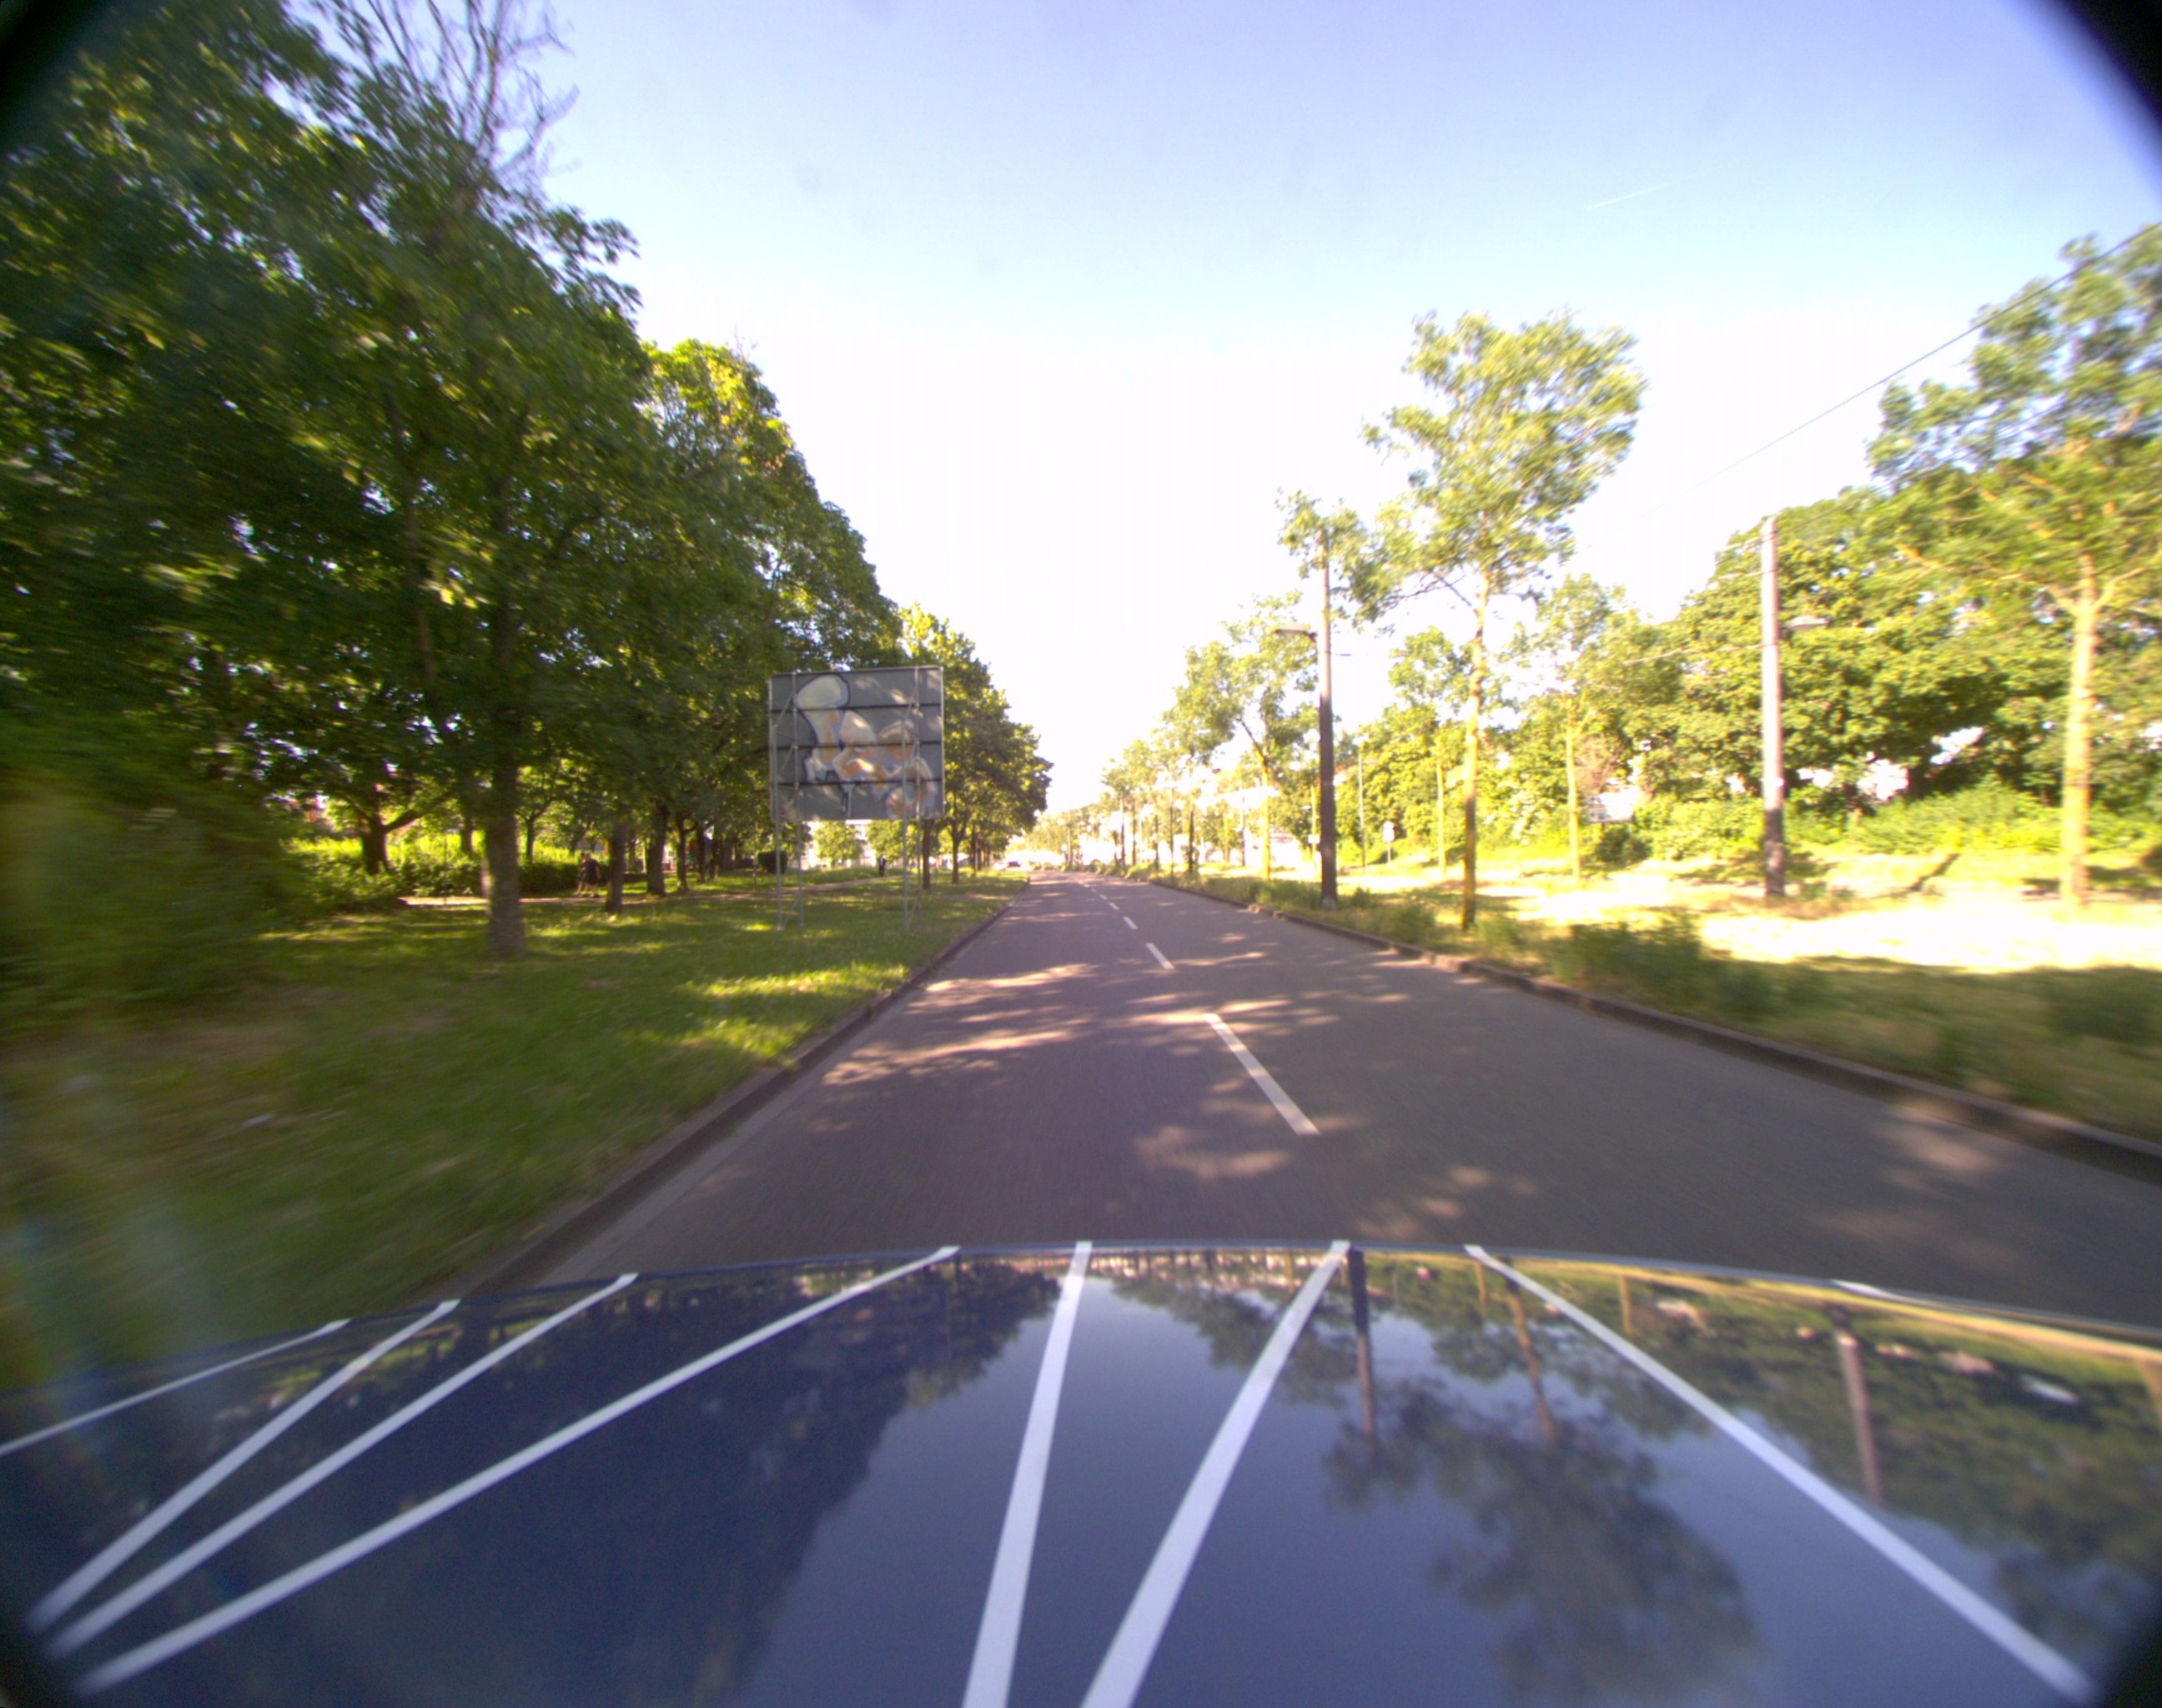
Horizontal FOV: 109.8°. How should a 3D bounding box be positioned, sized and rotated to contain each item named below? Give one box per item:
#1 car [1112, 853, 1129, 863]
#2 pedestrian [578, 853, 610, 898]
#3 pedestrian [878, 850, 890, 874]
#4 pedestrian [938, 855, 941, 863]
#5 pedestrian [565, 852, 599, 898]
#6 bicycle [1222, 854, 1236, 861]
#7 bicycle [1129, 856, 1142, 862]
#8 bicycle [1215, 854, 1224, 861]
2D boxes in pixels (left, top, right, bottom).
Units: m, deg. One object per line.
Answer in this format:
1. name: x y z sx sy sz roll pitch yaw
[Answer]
1. car: 7.199 0.754 138.466 1.826 1.630 4.486 -1 -3 -15
2. pedestrian: -17.875 0.788 27.910 0.548 1.613 0.844 -1 1 8
3. pedestrian: -15.020 0.602 57.955 0.718 1.793 0.793 -1 0 -5
4. pedestrian: -32.729 1.156 175.845 0.733 1.687 0.734 -1 0 -15
5. pedestrian: -18.522 0.766 28.213 0.637 1.682 0.844 -1 1 8
6. bicycle: 27.762 0.659 142.459 2.554 1.205 0.718 -1 0 -16
7. bicycle: 11.601 1.036 161.666 2.582 1.301 0.662 -1 0 -17
8. bicycle: 26.248 0.682 143.898 0.720 1.205 2.549 -1 0 -16
